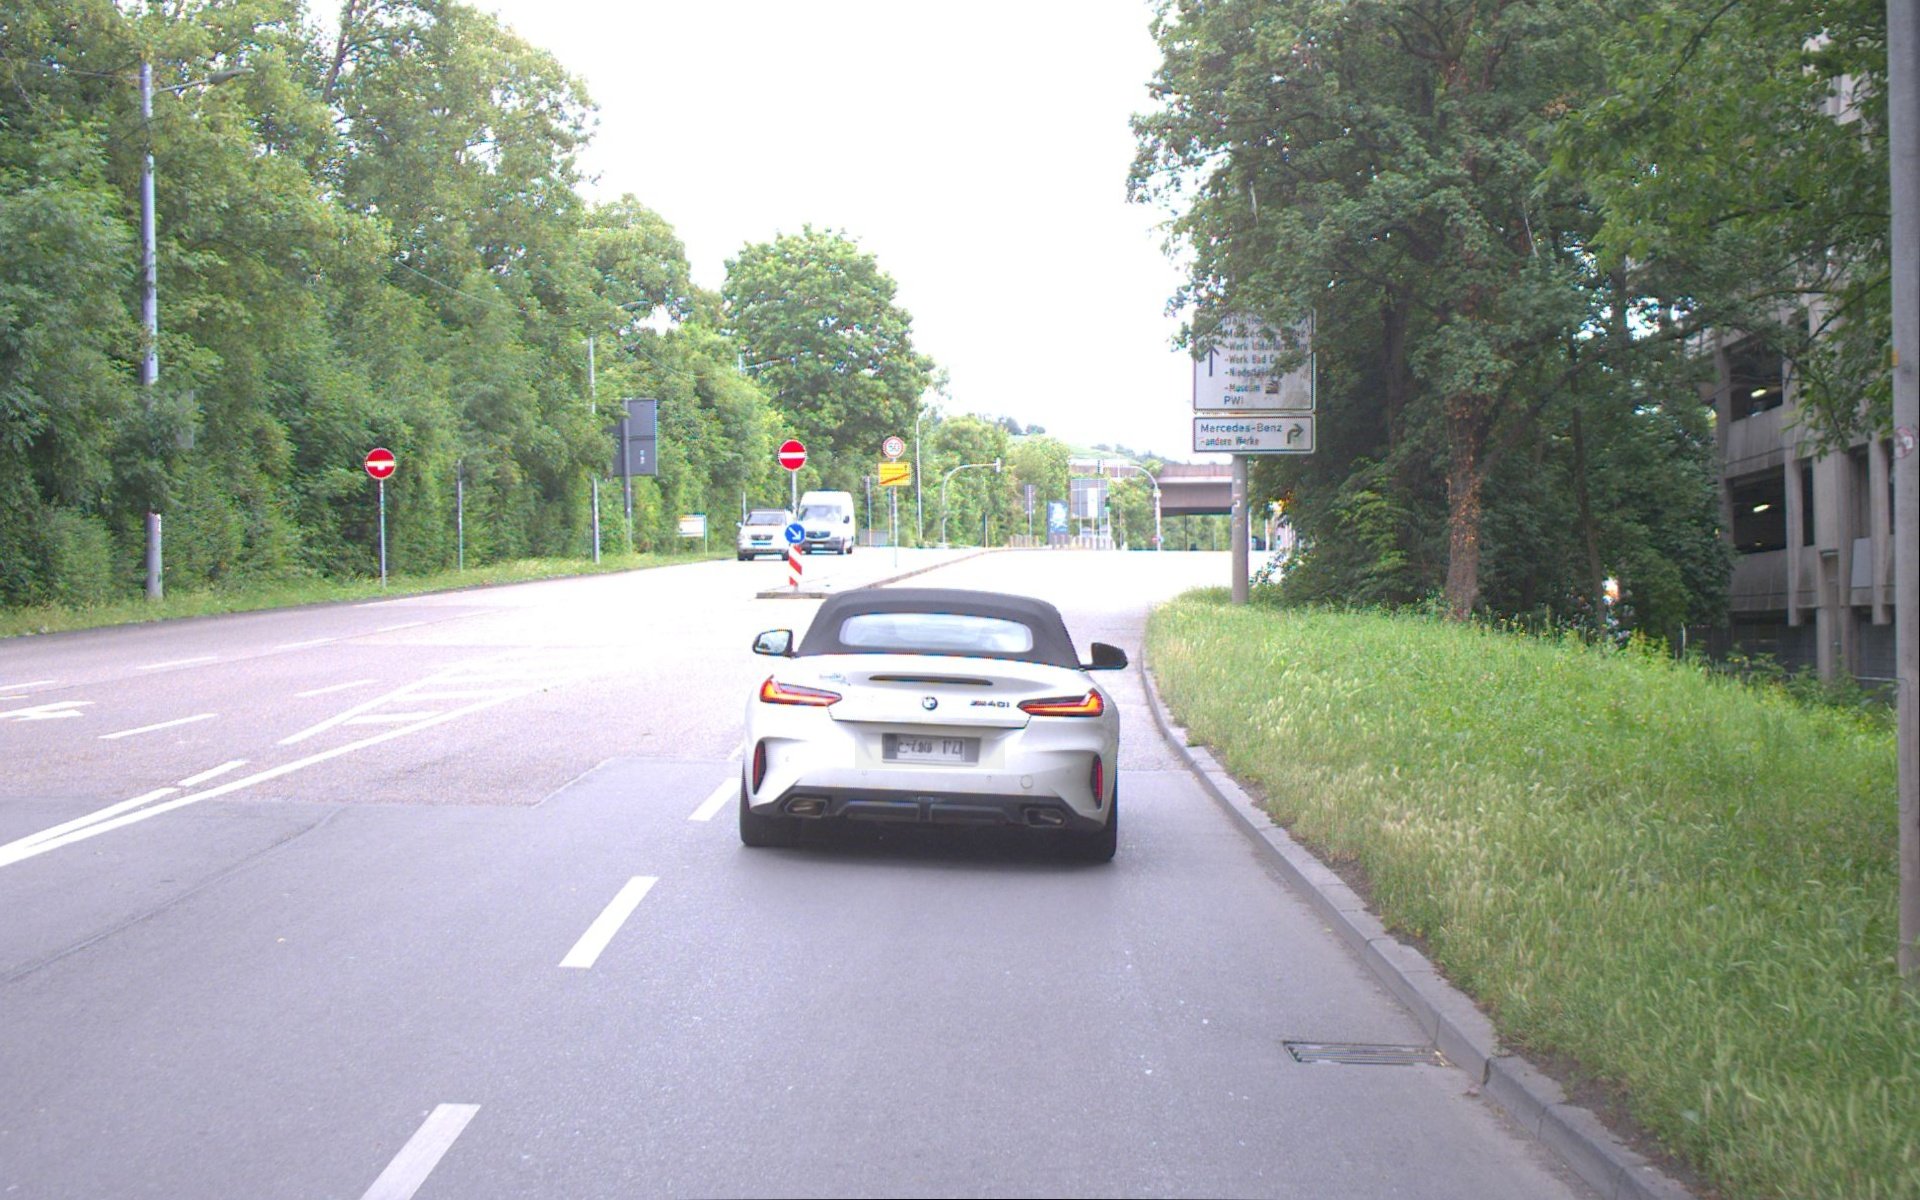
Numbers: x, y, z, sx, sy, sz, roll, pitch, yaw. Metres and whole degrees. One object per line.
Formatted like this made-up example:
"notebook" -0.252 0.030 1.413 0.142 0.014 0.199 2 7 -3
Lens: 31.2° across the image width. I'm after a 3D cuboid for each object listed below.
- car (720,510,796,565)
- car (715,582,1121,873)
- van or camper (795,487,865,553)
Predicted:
"car" -7.038 -2.197 120.147 1.814 1.824 4.382 0 2 8
"car" -0.127 0.586 18.037 1.875 1.305 3.873 1 0 2
"van or camper" -5.315 -3.269 141.576 2.283 2.546 6.859 1 0 2
